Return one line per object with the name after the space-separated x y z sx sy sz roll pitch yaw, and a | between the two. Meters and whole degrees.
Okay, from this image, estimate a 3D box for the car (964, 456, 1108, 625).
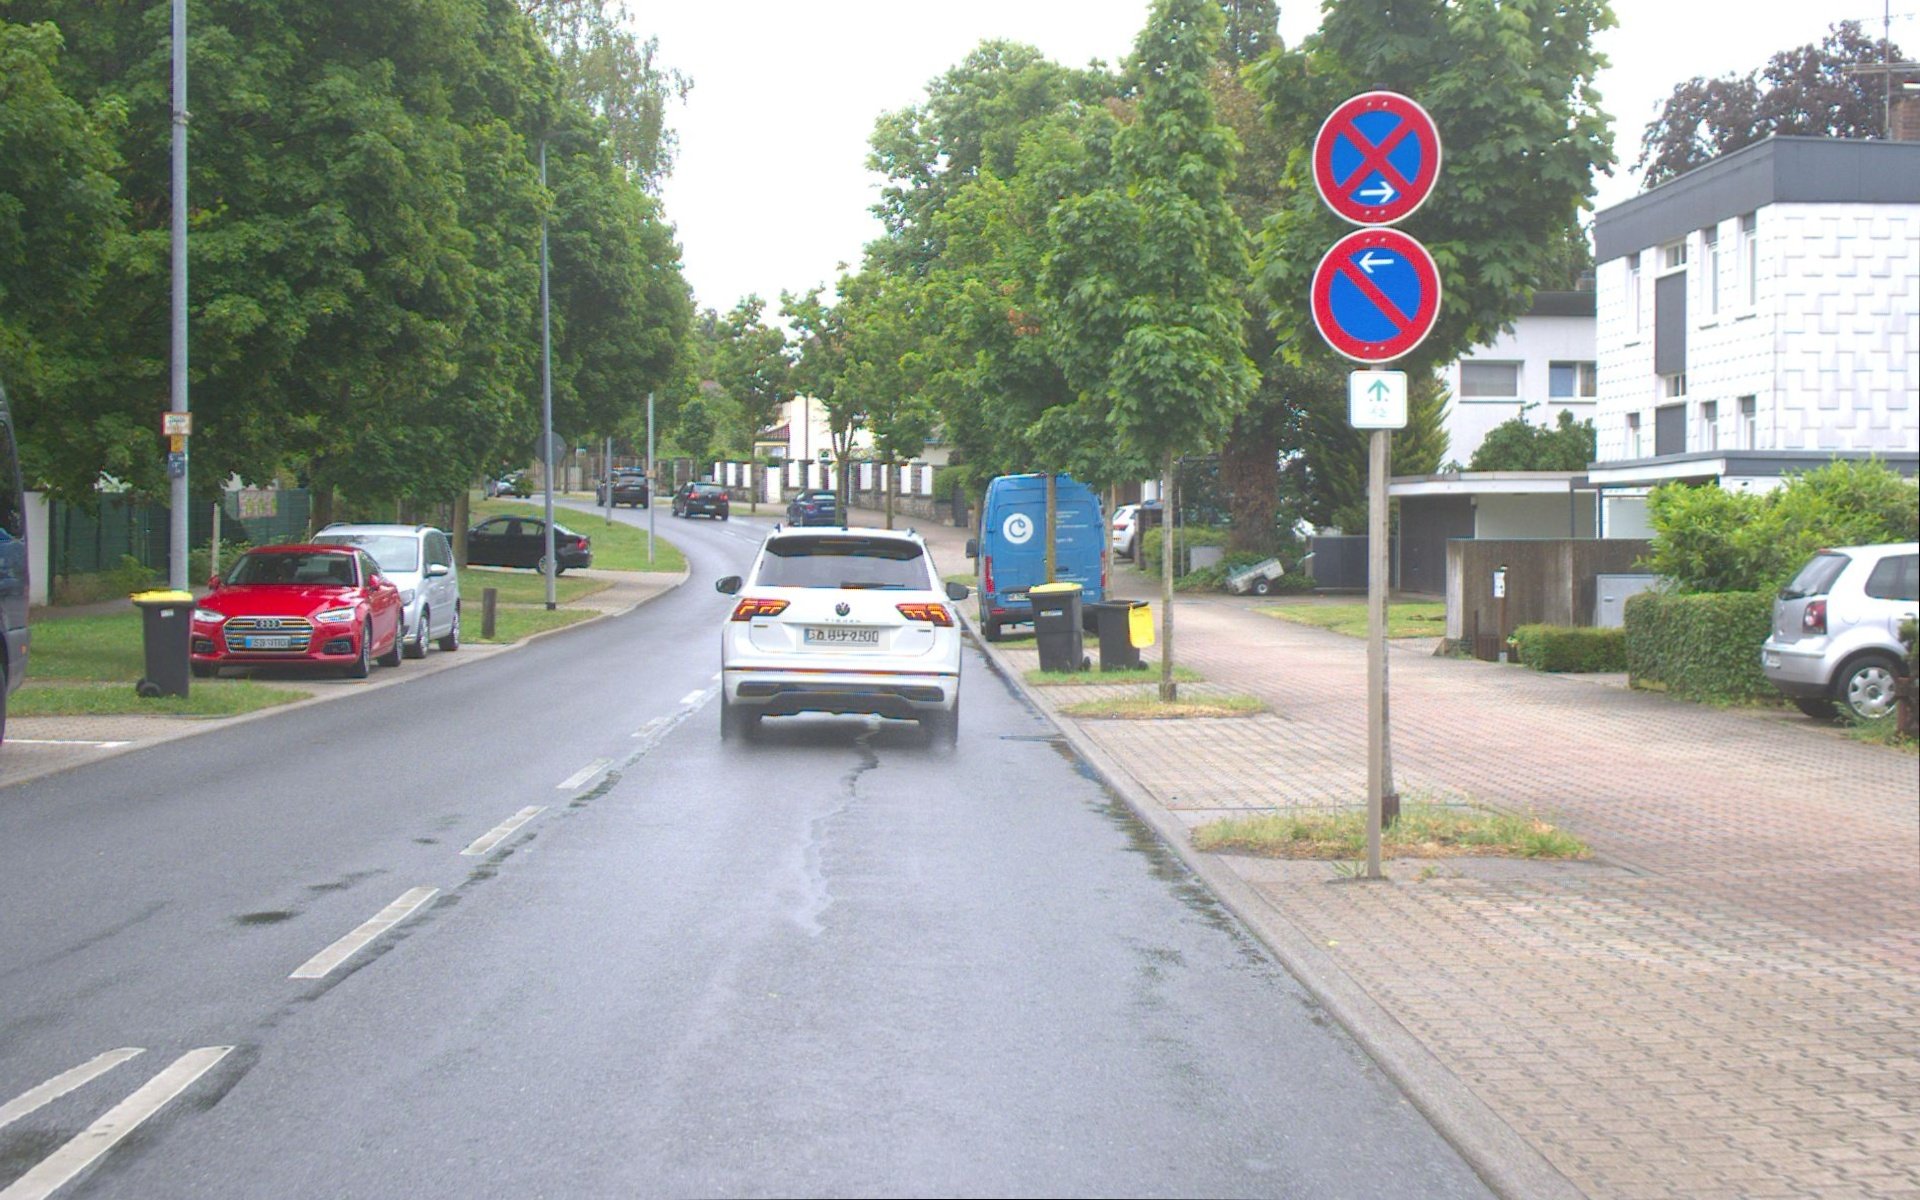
1.181 -0.995 56.021 1.993 2.578 5.634 -1 2 -2 | car

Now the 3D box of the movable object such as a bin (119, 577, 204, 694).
-6.643 0.291 28.623 0.558 0.950 0.549 1 1 2 | movable object such as a bin

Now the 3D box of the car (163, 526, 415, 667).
-7.224 -0.087 37.447 1.993 1.398 4.557 1 1 -2 | car

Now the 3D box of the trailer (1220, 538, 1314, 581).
7.049 -0.932 79.000 2.042 0.880 1.364 2 1 2 | trailer

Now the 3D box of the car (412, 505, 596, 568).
-11.186 -1.567 84.512 4.219 1.358 1.690 2 1 3 | car

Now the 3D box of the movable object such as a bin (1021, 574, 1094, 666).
1.132 0.228 39.692 0.615 1.011 0.562 -4 0 24 | movable object such as a bin

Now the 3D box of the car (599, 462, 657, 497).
-14.811 -5.363 153.210 1.642 1.422 4.002 1 3 -18 | car

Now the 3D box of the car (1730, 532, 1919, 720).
8.367 0.199 27.418 3.986 1.437 1.847 0 1 -3 | car

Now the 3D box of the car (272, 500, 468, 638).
-7.342 -0.418 43.128 1.756 1.622 4.233 1 1 -1 | car

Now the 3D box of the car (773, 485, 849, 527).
-5.655 -3.579 129.956 1.642 1.422 4.002 1 3 -21 | car

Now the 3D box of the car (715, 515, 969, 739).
-0.954 0.174 27.285 1.865 1.645 4.000 0 1 -3 | car

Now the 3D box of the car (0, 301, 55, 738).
-6.928 -0.477 19.612 1.993 2.719 5.938 2 1 -1 | car

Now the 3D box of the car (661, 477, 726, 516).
-10.730 -4.158 138.307 1.642 1.422 4.002 1 3 -18 | car

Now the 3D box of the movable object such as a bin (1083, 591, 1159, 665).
1.831 0.318 39.073 0.660 0.797 0.600 -2 0 24 | movable object such as a bin
